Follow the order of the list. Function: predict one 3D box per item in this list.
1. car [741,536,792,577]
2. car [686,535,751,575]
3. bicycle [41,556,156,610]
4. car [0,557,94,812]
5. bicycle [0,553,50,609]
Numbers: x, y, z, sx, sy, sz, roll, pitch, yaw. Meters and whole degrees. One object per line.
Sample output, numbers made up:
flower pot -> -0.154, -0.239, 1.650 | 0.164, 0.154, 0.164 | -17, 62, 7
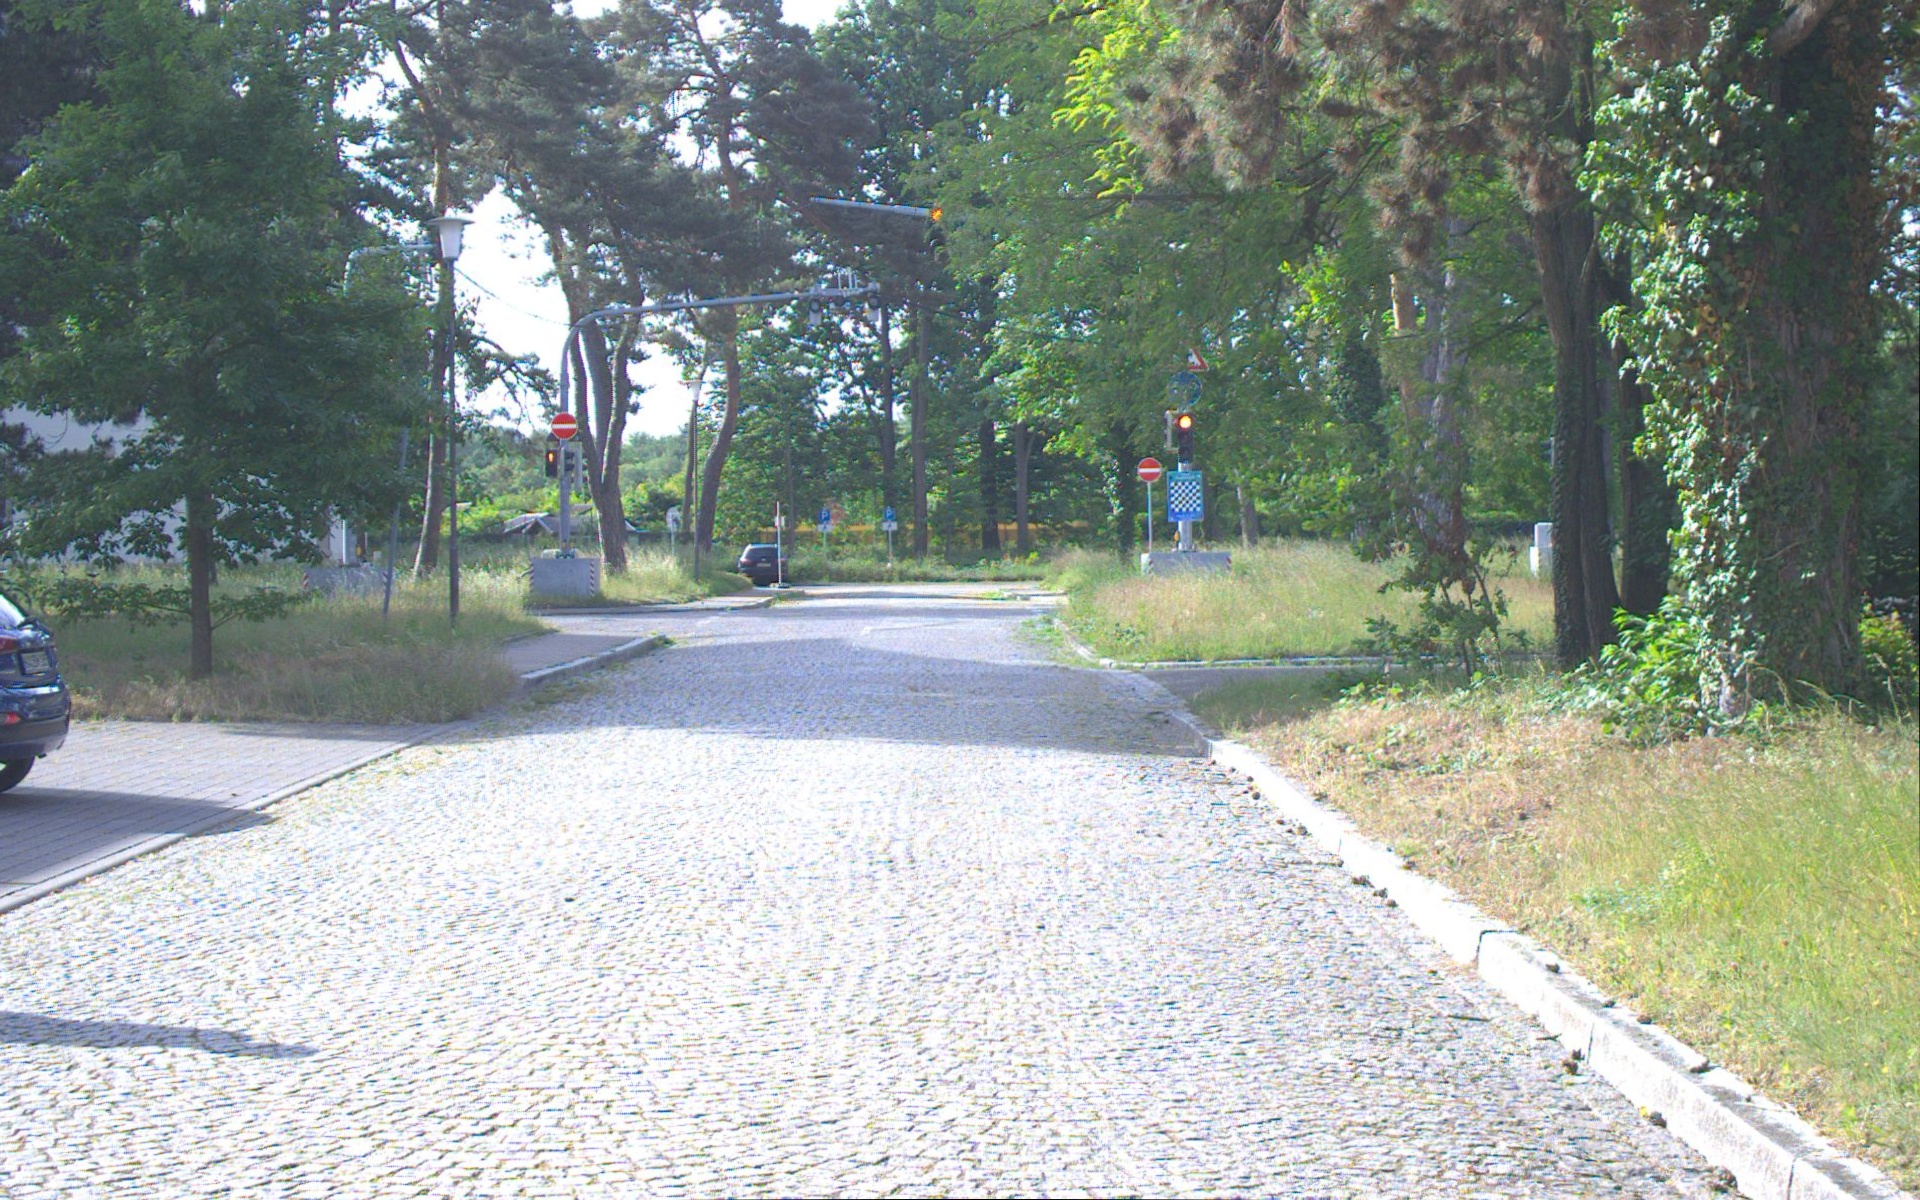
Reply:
car -> -7.128, -1.629, 126.942 | 1.845, 1.481, 4.001 | -1, 1, -3
car -> -9.225, -1.718, 131.680 | 1.783, 1.485, 3.754 | -1, 1, 7
bicycle -> -17.399, -0.348, 69.470 | 2.117, 1.043, 0.829 | -1, 1, -3
car -> -7.376, 0.445, 20.741 | 3.836, 1.459, 1.720 | 1, 1, 1
bicycle -> -19.526, -0.371, 69.373 | 2.117, 1.104, 0.829 | -1, 1, -3
